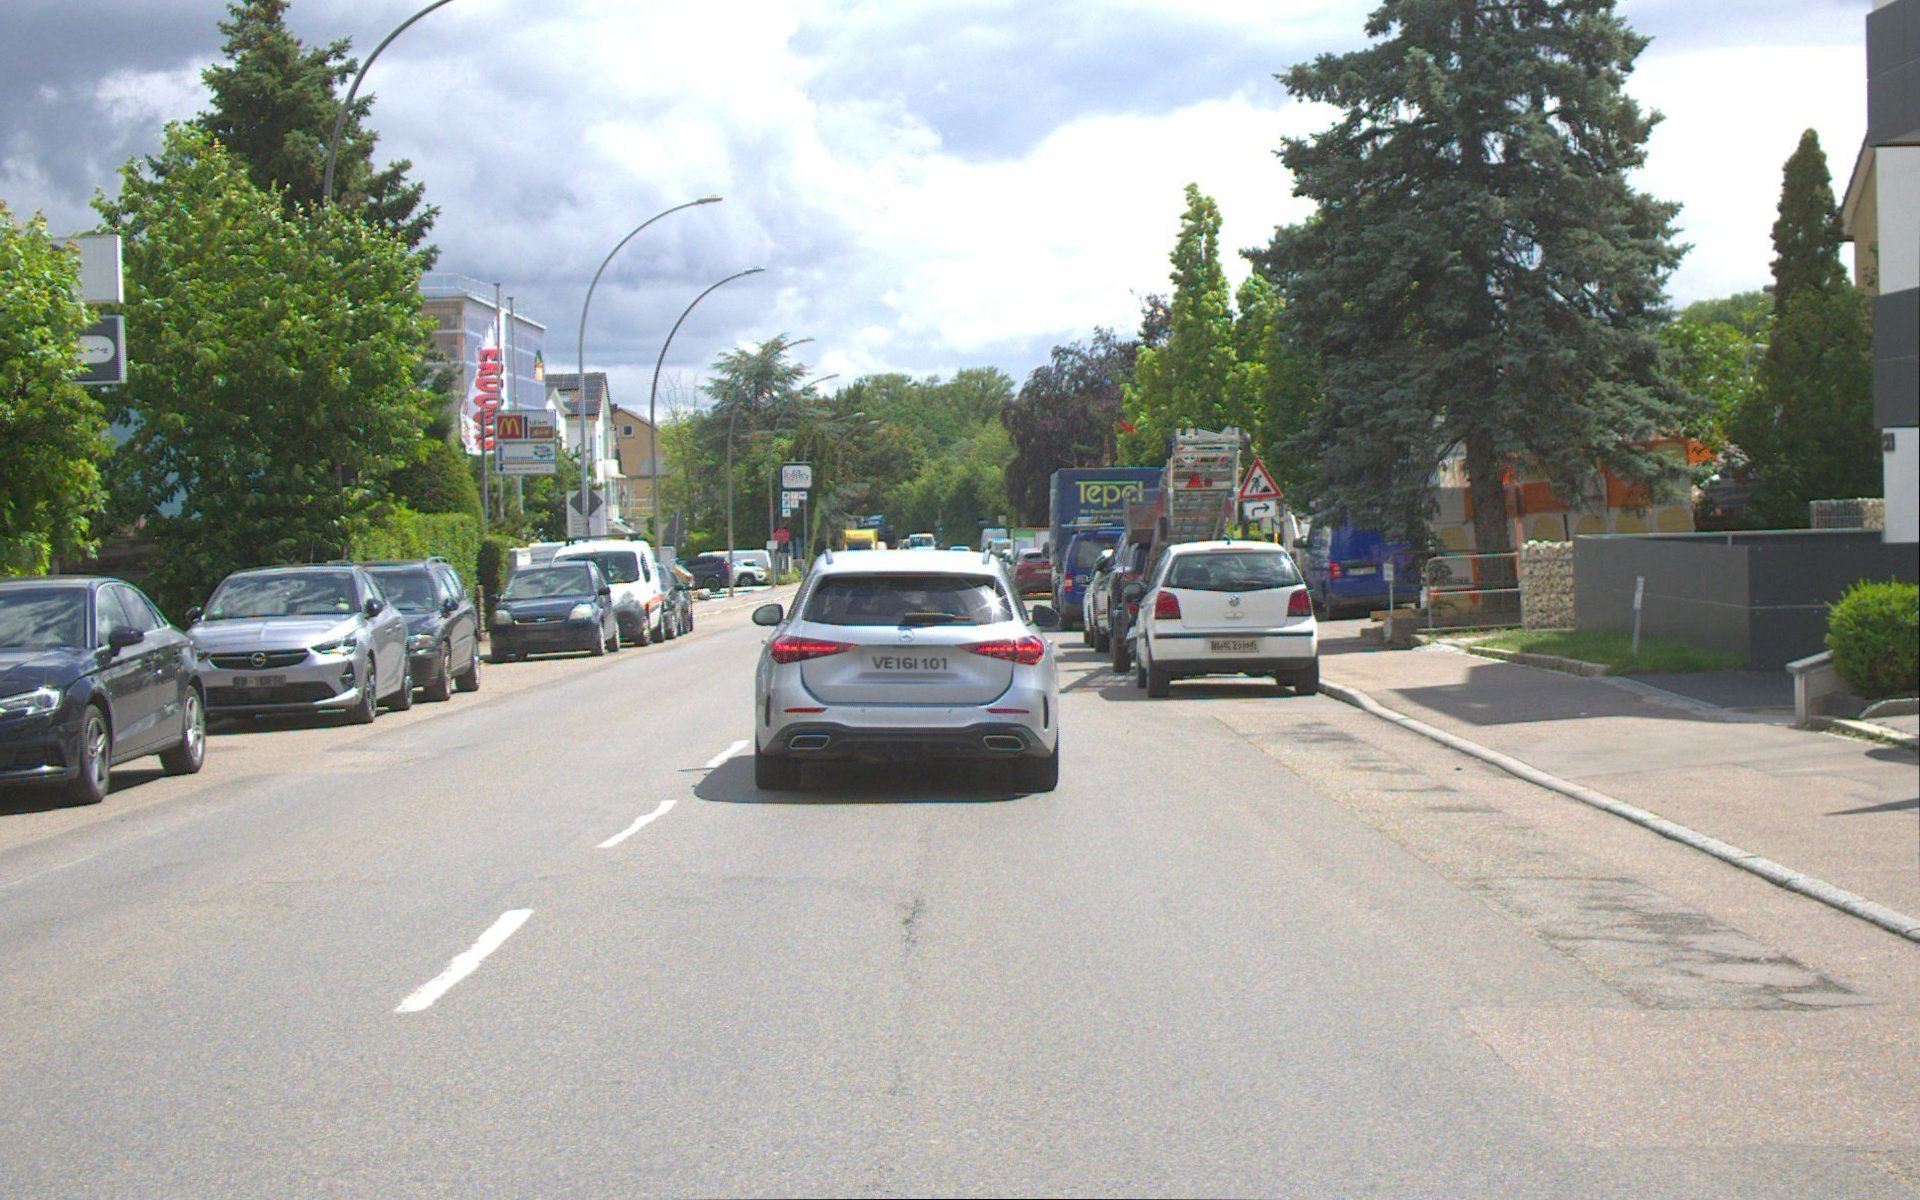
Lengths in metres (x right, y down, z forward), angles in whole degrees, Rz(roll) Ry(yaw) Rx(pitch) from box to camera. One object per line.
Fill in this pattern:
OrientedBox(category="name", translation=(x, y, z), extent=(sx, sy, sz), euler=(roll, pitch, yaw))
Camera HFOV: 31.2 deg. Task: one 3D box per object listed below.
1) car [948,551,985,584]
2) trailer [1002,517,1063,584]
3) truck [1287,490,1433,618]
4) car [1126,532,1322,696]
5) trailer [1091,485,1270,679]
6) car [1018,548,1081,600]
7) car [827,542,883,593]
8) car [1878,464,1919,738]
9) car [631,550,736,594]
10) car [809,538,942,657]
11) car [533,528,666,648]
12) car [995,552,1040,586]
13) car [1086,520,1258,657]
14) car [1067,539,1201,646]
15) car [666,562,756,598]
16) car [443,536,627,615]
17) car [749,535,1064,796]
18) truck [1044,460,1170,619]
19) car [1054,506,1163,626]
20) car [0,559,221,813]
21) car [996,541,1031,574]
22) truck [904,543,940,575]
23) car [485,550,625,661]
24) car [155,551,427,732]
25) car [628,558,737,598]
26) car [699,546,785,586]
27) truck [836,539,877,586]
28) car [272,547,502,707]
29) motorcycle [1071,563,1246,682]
OrientedBox(category="car", translation=(0.315, -1.618, 170.056), extent=(1.755, 1.553, 4.000), euler=(-1, 1, 0))
OrientedBox(category="trailer", translation=(2.552, -1.754, 122.033), extent=(1.941, 2.286, 4.446), euler=(-2, 1, -1))
OrientedBox(category="truck", translation=(7.274, -0.894, 62.993), extent=(1.829, 2.074, 5.386), euler=(-4, 2, -1))
OrientedBox(category="car", translation=(2.557, 0.093, 34.075), extent=(1.719, 1.427, 3.983), euler=(-3, 1, 2))
OrientedBox(category="trailer", translation=(2.552, -0.246, 40.688), extent=(1.773, 2.137, 4.114), euler=(-2, 1, 0))
OrientedBox(category="car", translation=(2.897, -0.864, 110.616), extent=(1.941, 1.566, 4.445), euler=(-2, 1, 2))
OrientedBox(category="car", translation=(-3.477, -1.095, 114.759), extent=(1.743, 1.622, 4.356), euler=(-1, 1, 0))
OrientedBox(category="car", translation=(7.836, -0.149, 20.352), extent=(4.192, 1.648, 1.867), euler=(-5, 1, 0))
OrientedBox(category="car", translation=(-12.722, -1.294, 158.432), extent=(4.626, 1.627, 2.198), euler=(-4, 1, -3))
OrientedBox(category="car", translation=(-1.219, -0.067, 48.027), extent=(1.755, 1.553, 4.001), euler=(-1, 1, -3))
OrientedBox(category="car", translation=(-6.063, -0.241, 58.253), extent=(1.743, 1.832, 4.356), euler=(-4, 1, -1))
OrientedBox(category="car", translation=(2.638, -1.414, 157.851), extent=(1.791, 1.445, 4.364), euler=(-2, 1, -2))
OrientedBox(category="car", translation=(2.837, -0.195, 47.010), extent=(1.873, 1.721, 4.713), euler=(-2, 1, -2))
OrientedBox(category="car", translation=(2.611, -0.144, 52.331), extent=(1.773, 1.503, 4.000), euler=(-2, 1, 0))
OrientedBox(category="car", translation=(-12.369, -0.993, 170.953), extent=(4.279, 1.561, 1.991), euler=(-2, -2, 1))
OrientedBox(category="car", translation=(-11.251, -0.668, 91.265), extent=(4.651, 1.965, 2.116), euler=(-1, 1, -3))
OrientedBox(category="car", translation=(-0.365, 0.331, 21.706), extent=(1.784, 1.479, 4.317), euler=(0, 1, -2))
OrientedBox(category="truck", translation=(2.943, -1.243, 70.287), extent=(2.320, 3.086, 6.043), euler=(1, 1, 0))
OrientedBox(category="car", translation=(2.763, -0.659, 64.720), extent=(1.873, 2.161, 4.464), euler=(1, 1, 1))
OrientedBox(category="car", translation=(-6.090, 0.505, 22.190), extent=(1.662, 1.409, 4.339), euler=(-3, 1, 0))
OrientedBox(category="car", translation=(3.353, -2.687, 216.801), extent=(2.144, 1.977, 5.261), euler=(-2, 1, 1))
OrientedBox(category="truck", translation=(-2.779, -3.052, 253.913), extent=(2.319, 2.171, 6.449), euler=(-2, 1, 2))
OrientedBox(category="car", translation=(-6.142, 0.050, 52.483), extent=(1.639, 1.482, 4.000), euler=(-4, 1, -1))
OrientedBox(category="car", translation=(-6.061, 0.327, 31.589), extent=(1.719, 1.427, 4.200), euler=(-3, 1, -2))
OrientedBox(category="car", translation=(-10.855, -0.863, 134.668), extent=(4.149, 1.486, 1.826), euler=(1, 1, -3))
OrientedBox(category="car", translation=(-11.163, -1.738, 176.079), extent=(4.279, 1.830, 1.991), euler=(-2, -2, -1))
OrientedBox(category="truck", translation=(-6.448, -2.357, 215.143), extent=(2.075, 2.804, 7.078), euler=(-2, 1, 1))
OrientedBox(category="car", translation=(-5.998, 0.229, 36.481), extent=(1.719, 1.488, 4.736), euler=(-2, 1, -2))
OrientedBox(category="motorcycle", translation=(2.162, 0.233, 37.300), extent=(1.817, 1.205, 0.717), euler=(-3, 2, -35))
